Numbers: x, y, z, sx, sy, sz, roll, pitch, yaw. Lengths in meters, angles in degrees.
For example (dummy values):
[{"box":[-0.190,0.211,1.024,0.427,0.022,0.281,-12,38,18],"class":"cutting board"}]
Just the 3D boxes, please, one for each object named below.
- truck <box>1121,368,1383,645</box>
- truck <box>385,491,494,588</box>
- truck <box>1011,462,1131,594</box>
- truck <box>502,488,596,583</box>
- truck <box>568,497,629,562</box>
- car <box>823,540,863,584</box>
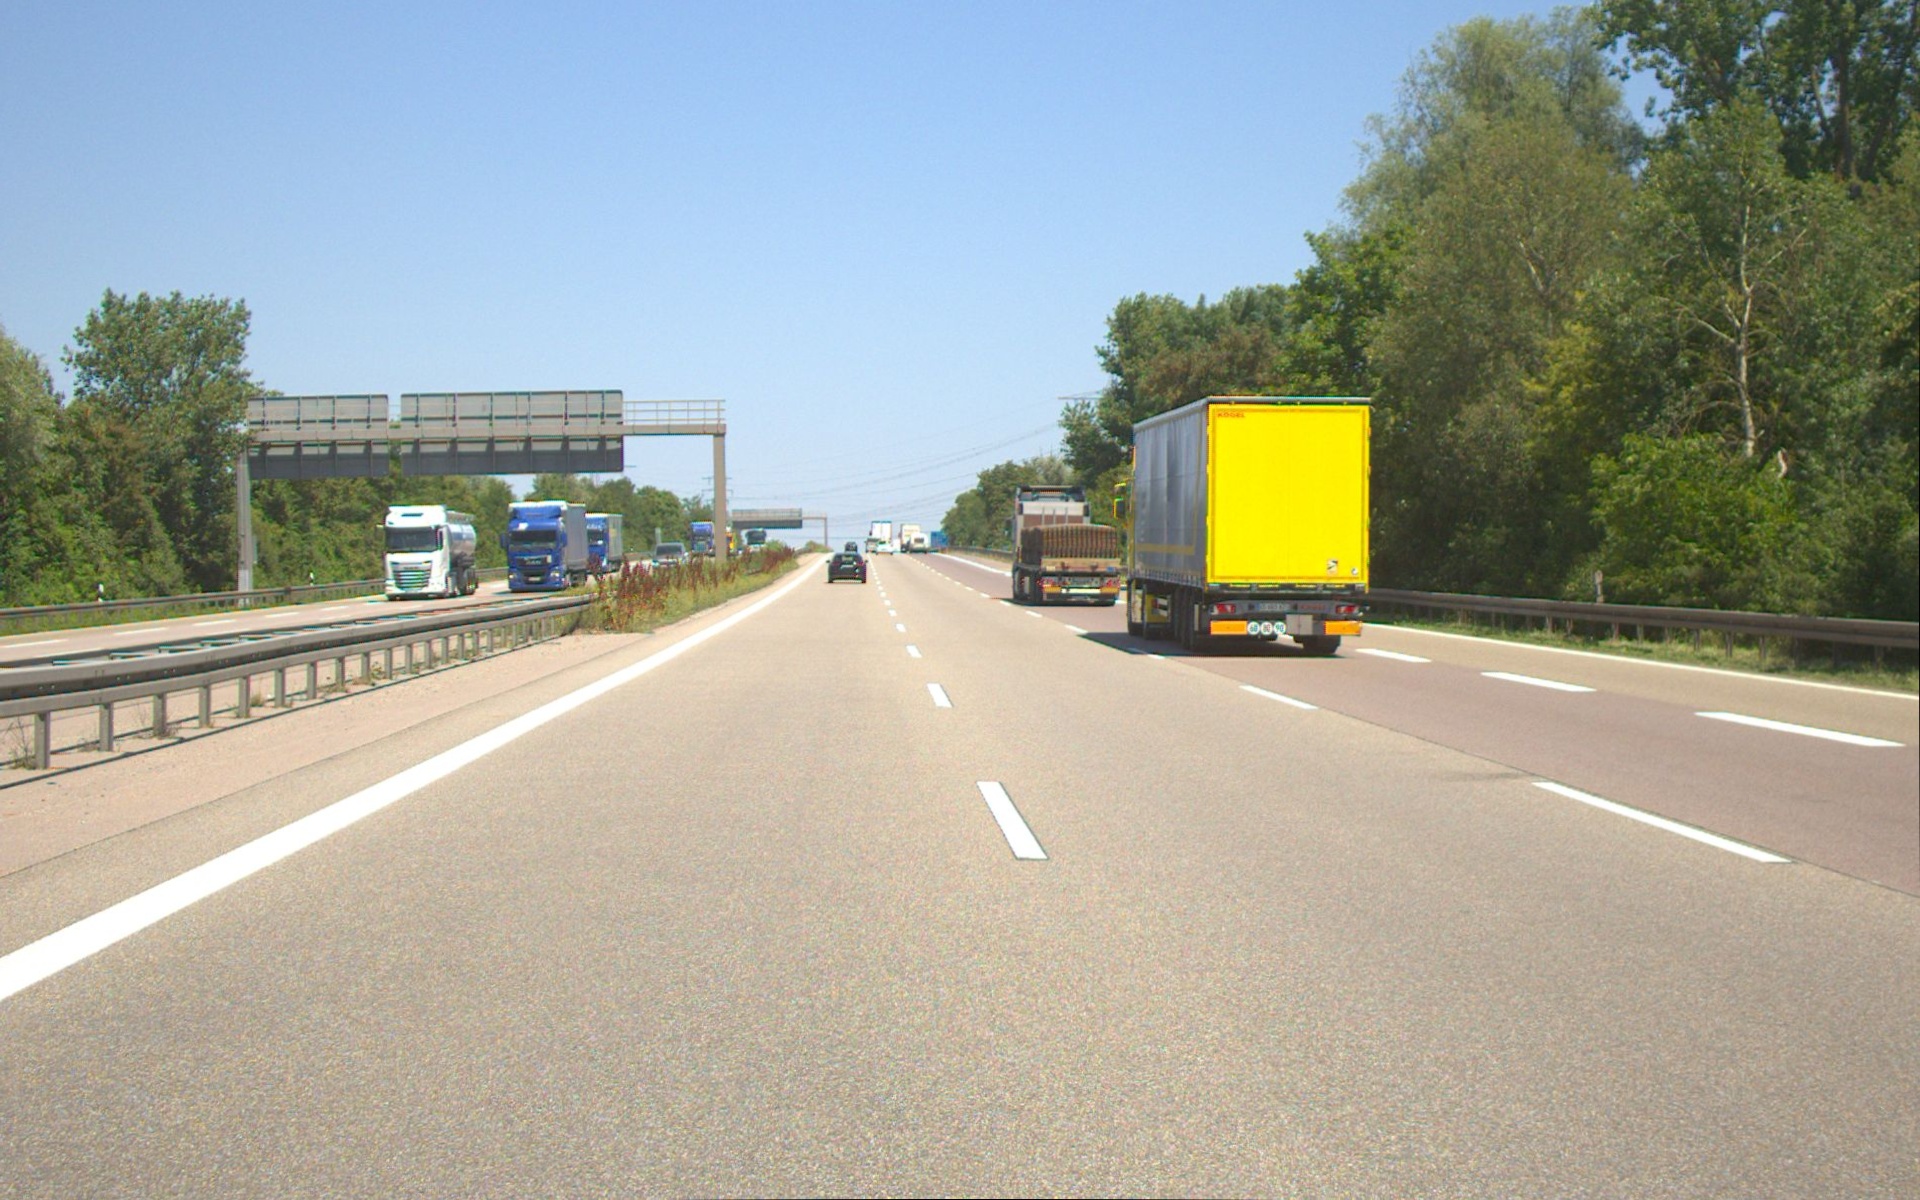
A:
[{"box":[4.895,-1.522,61.348,2.845,4.243,16.793,-1,1,-1],"class":"truck"},{"box":[-23.044,-2.684,153.059,2.955,4.004,15.822,-1,1,-2],"class":"truck"},{"box":[3.450,-2.251,111.653,2.969,3.943,16.614,1,1,-1],"class":"truck"},{"box":[-19.552,-3.056,164.446,2.955,4.231,17.183,-1,1,-2],"class":"truck"},{"box":[-25.250,-4.894,241.000,2.955,4.327,18.244,-1,1,-2],"class":"truck"},{"box":[-5.457,-1.755,160.665,1.791,2.007,3.888,1,0,-1],"class":"car"}]
